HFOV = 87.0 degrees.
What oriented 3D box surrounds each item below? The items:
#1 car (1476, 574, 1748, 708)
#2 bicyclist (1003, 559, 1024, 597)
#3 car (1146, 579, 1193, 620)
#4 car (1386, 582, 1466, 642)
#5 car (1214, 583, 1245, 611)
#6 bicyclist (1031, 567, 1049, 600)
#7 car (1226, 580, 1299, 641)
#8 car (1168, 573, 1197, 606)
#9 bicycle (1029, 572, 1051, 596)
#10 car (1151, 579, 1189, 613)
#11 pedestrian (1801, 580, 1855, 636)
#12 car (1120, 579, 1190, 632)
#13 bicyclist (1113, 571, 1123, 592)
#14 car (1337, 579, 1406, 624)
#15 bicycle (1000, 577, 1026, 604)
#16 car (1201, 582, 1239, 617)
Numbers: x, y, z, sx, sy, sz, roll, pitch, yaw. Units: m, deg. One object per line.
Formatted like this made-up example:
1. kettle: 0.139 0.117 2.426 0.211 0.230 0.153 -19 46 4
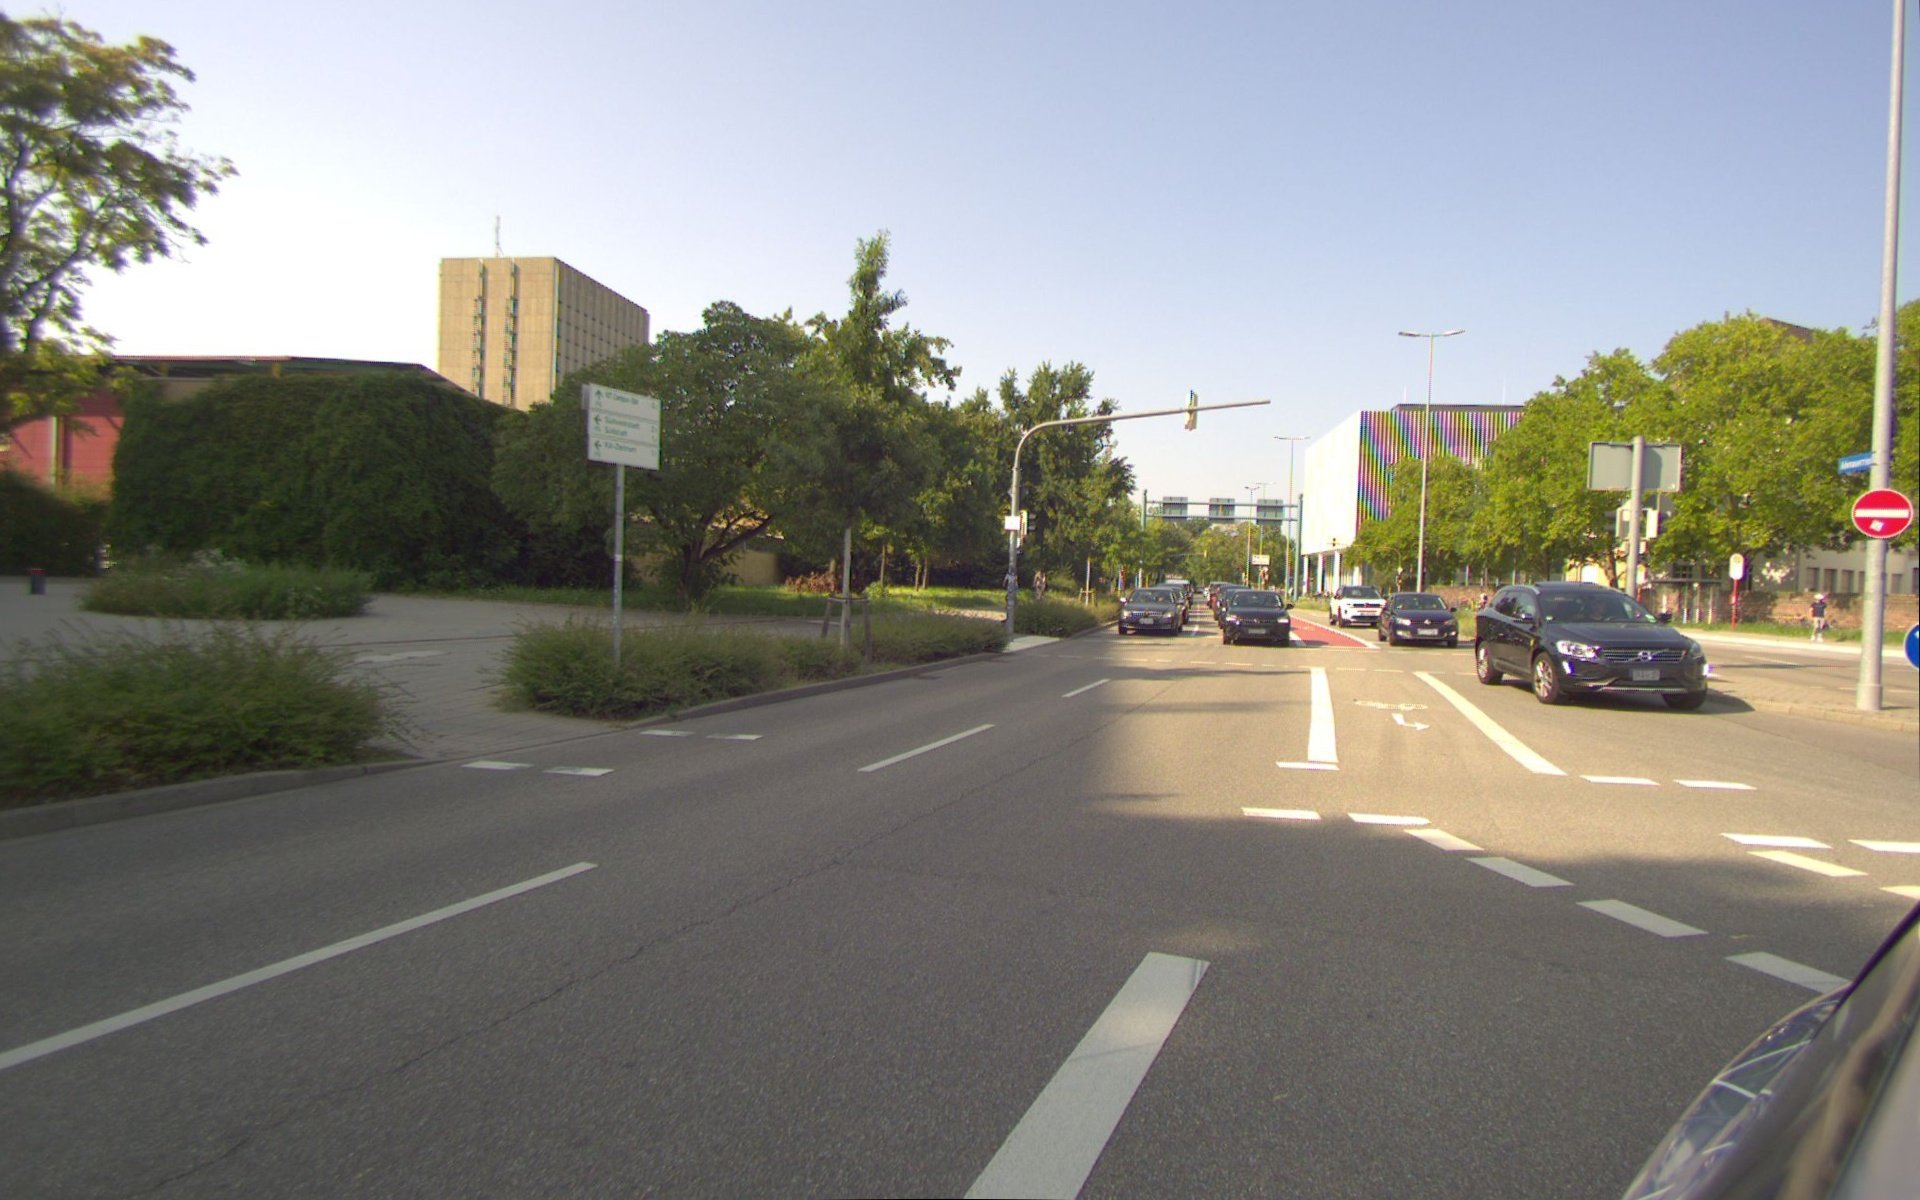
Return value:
1. car: 9.272 0.467 14.881 1.970 1.653 4.356 0 1 13
2. bicyclist: 2.369 -0.969 44.663 0.762 1.612 0.921 2 1 12
3. car: 8.570 -0.076 41.261 1.663 1.510 4.654 2 2 14
4. car: 12.749 0.284 27.871 1.605 1.516 3.827 1 1 19
5. car: 16.168 -0.201 60.813 1.664 1.510 4.353 3 2 15
6. bicyclist: 3.995 -0.825 50.582 0.762 1.613 0.921 2 1 13
7. car: 8.107 0.230 27.442 1.663 1.510 4.354 0 1 14
8. car: 14.264 -0.677 64.970 1.662 1.966 4.358 2 2 11
9. bicycle: 3.997 -0.816 50.594 0.762 1.131 2.295 2 1 12
10. car: 10.340 -0.224 49.619 1.663 1.510 4.354 2 2 14
11. pedestrian: 32.487 0.279 37.901 1.065 2.039 1.311 1 1 17
12. car: 6.100 0.123 31.325 1.665 1.460 4.349 3 2 17
13. bicyclist: 13.226 -1.560 84.561 0.762 1.697 0.921 2 1 13
14. car: 16.122 0.035 39.843 1.971 1.654 4.352 0 1 15
15. bicycle: 2.371 -0.413 44.774 0.762 1.131 2.295 2 1 12
16. car: 13.752 -0.065 53.764 1.757 1.625 4.405 3 3 13
